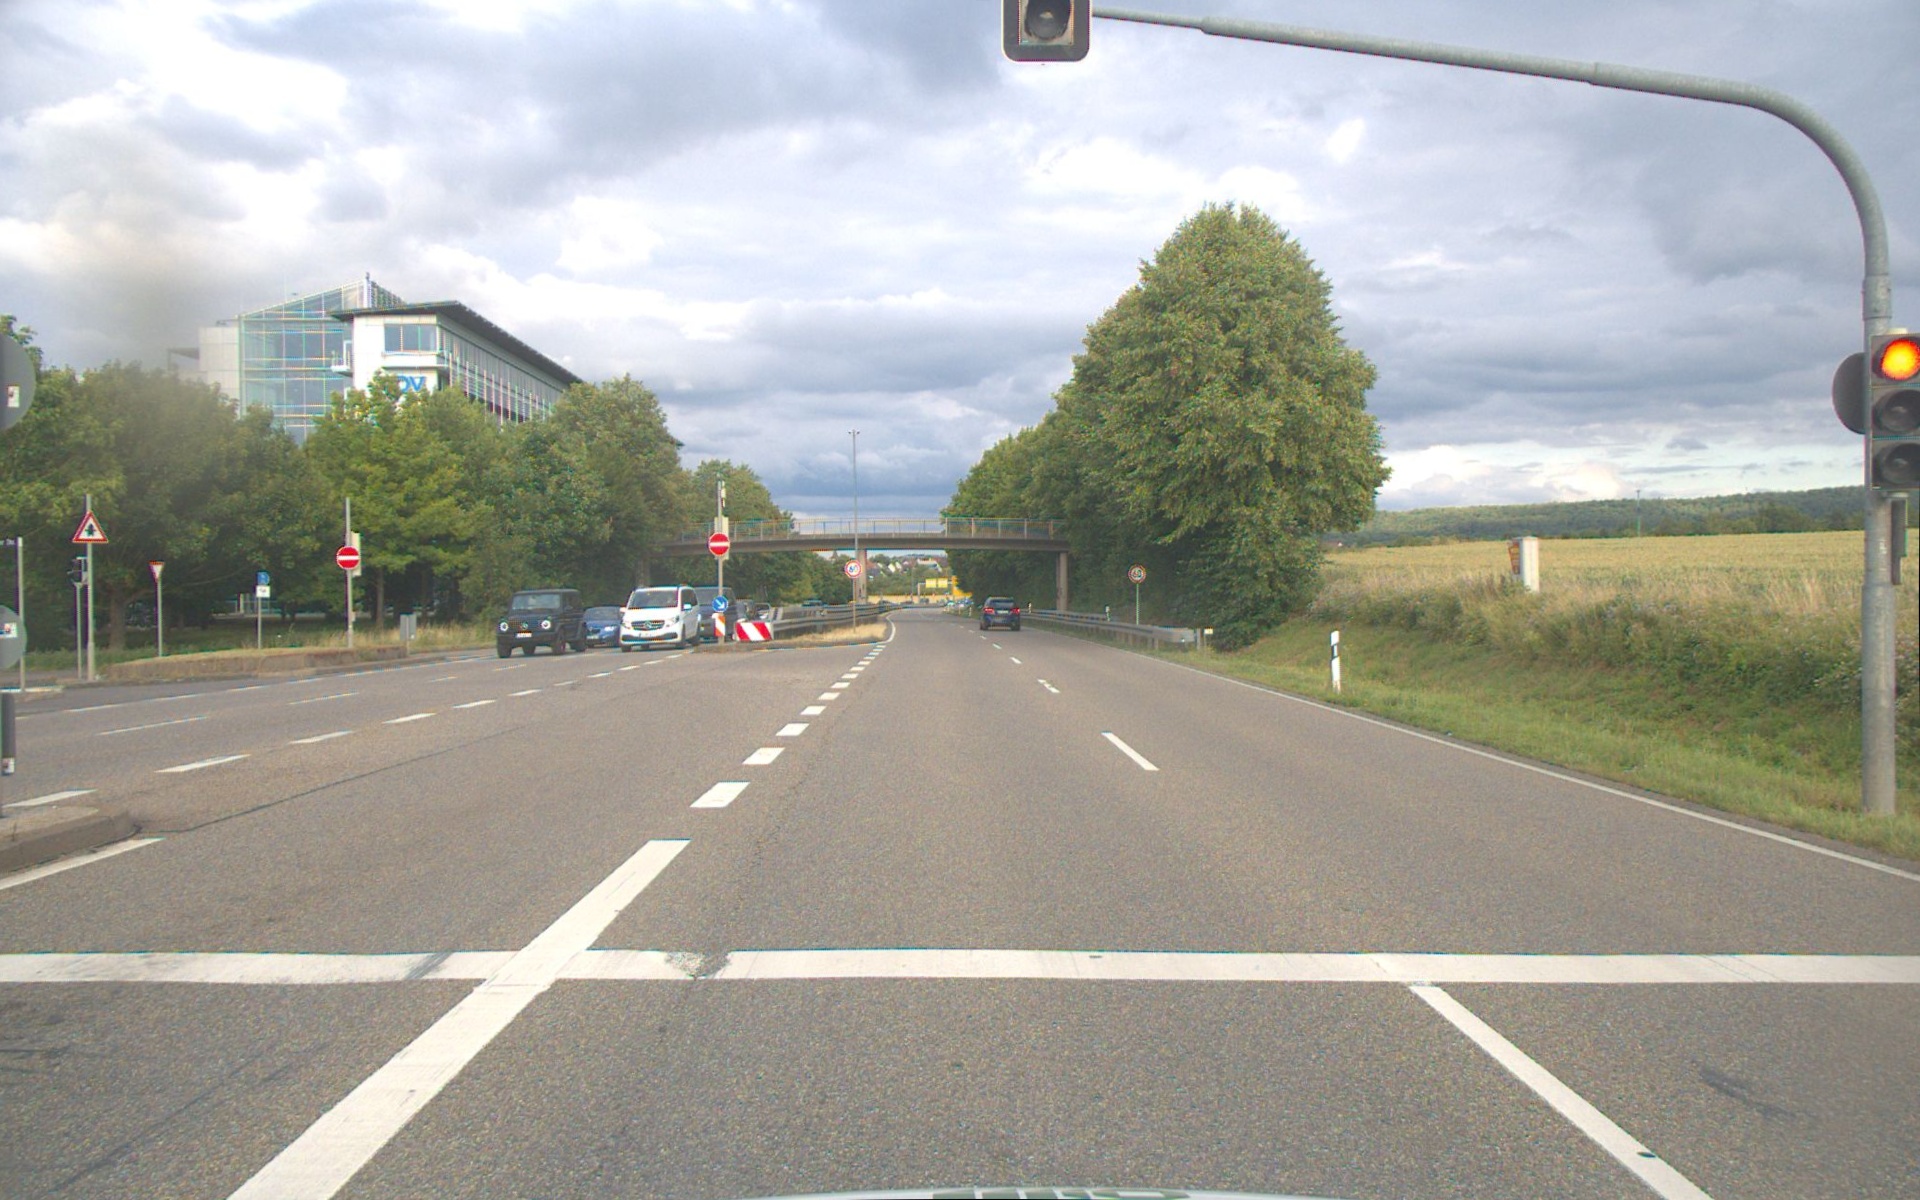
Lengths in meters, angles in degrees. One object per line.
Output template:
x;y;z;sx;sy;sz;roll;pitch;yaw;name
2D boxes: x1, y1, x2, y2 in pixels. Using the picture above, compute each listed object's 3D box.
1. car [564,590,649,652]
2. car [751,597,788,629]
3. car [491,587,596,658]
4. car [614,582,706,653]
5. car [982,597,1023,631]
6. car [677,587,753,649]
-12.420;0.717;58.452;2.041;2.049;5.214;1;0;-2;car
-12.962;0.879;112.965;2.041;2.049;5.214;1;0;-2;car
-12.748;0.672;50.946;2.041;2.049;5.214;1;0;-2;car
-9.188;0.531;51.116;2.041;2.049;5.214;1;0;-2;car
2.015;0.661;79.224;1.841;1.579;4.000;1;0;1;car
-8.656;0.625;58.861;2.041;2.049;5.214;1;0;-2;car
